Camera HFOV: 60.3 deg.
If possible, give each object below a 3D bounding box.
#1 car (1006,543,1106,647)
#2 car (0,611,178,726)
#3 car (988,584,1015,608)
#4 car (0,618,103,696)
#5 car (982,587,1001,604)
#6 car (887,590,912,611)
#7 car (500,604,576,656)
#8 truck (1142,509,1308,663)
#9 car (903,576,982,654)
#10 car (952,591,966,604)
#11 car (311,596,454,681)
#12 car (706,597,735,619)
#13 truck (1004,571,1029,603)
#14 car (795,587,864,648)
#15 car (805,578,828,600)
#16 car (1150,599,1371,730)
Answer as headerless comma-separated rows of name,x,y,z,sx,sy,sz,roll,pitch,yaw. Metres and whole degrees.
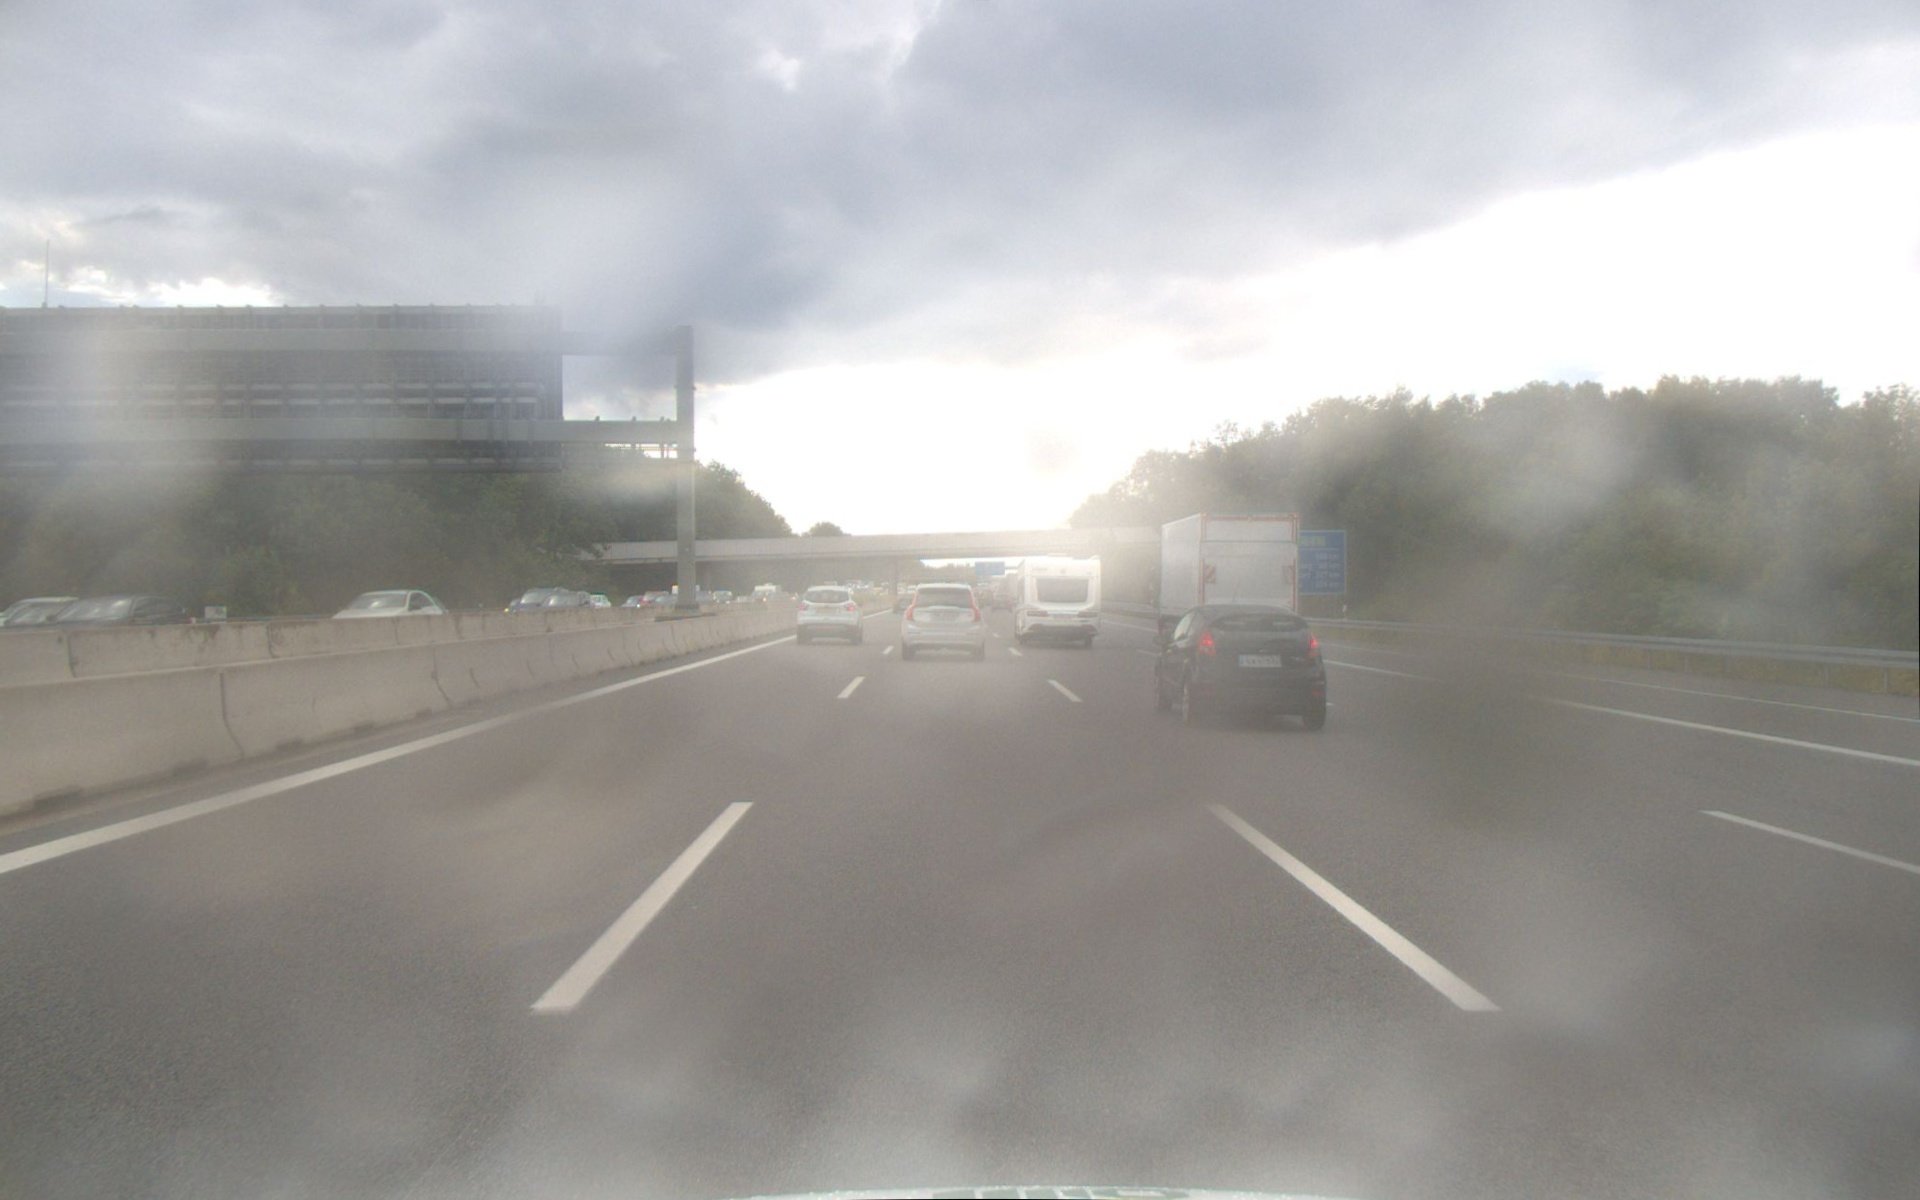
car,2.845,-0.160,50.898,2.515,2.946,7.532,0,0,-1
car,-17.887,1.286,33.226,1.953,2.049,5.097,0,0,-1
car,3.384,-0.335,135.794,2.001,1.855,4.903,0,0,0
car,-26.516,1.543,46.414,2.381,1.986,4.828,0,0,0
car,3.442,-0.495,180.374,2.001,1.855,4.903,0,0,0
car,-4.449,0.019,121.775,1.744,1.507,4.352,0,0,-1
car,-17.493,1.214,68.810,1.953,2.049,4.760,0,0,-1
truck,7.068,-0.364,45.672,3.069,3.774,9.848,0,0,0
car,-0.381,0.320,39.234,1.744,1.746,4.353,0,0,0
car,-0.164,-0.344,233.561,1.844,1.715,3.997,0,0,-3
car,-13.851,0.876,39.945,1.953,1.924,4.361,0,0,-1
car,-22.174,0.736,153.387,1.953,1.986,5.225,0,0,0
truck,7.150,-1.637,210.349,2.846,3.876,7.273,0,0,0
car,-3.858,0.492,49.633,1.778,1.719,4.851,0,1,-1
car,-14.966,-1.144,172.599,1.953,2.219,5.289,0,0,0
car,3.610,0.726,20.653,1.847,1.431,4.281,0,0,-2
